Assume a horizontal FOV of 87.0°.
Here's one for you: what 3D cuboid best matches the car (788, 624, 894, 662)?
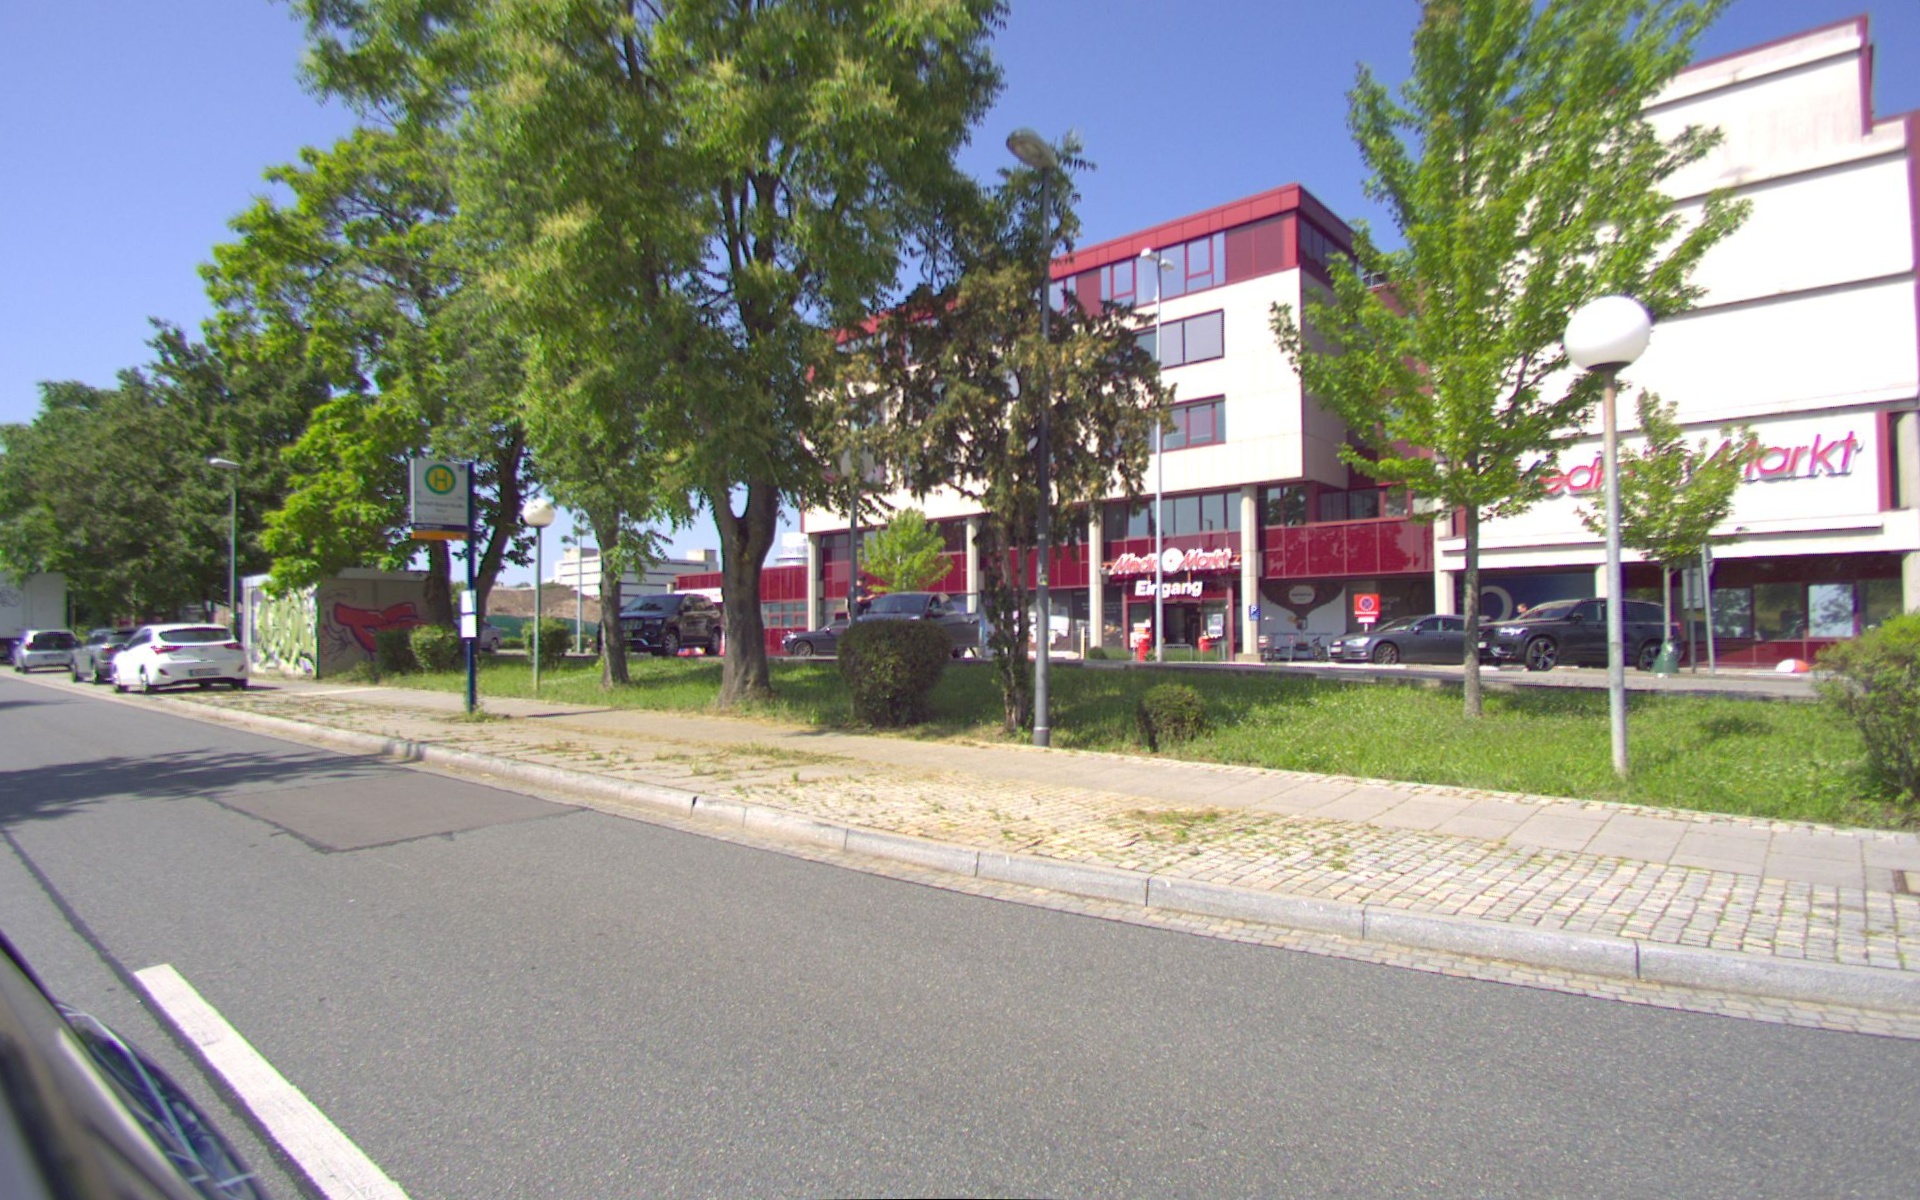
[{"bbox_3d":[-4.815,1.737,41.017,4.174,1.462,1.725,-1,-2,-6],"label":"car"}]

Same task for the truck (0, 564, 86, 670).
[{"bbox_3d":[-40.700,0.798,43.663,9.274,4.175,3.310,-2,-1,42],"label":"truck"}]

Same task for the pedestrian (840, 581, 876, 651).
[{"bbox_3d":[-2.310,0.368,22.828,0.555,1.539,0.759,0,-2,-27],"label":"pedestrian"}]

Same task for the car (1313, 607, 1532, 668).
[{"bbox_3d":[11.848,0.969,26.100,4.794,1.504,1.921,0,-2,-6],"label":"car"}]

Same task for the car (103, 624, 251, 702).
[{"bbox_3d":[-17.142,1.324,22.101,3.997,1.504,1.743,-2,-1,40],"label":"car"}]

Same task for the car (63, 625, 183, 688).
[{"bbox_3d":[-22.454,1.484,27.097,3.997,1.527,1.792,-2,-1,40],"label":"car"}]

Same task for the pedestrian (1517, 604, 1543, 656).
[{"bbox_3d":[15.089,0.791,26.773,0.520,1.366,0.457,-2,-2,36],"label":"pedestrian"}]

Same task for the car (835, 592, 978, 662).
[{"bbox_3d":[-1.045,0.545,21.807,1.705,1.348,3.964,-2,-1,19],"label":"car"}]

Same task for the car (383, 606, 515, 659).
[{"bbox_3d":[-18.940,1.206,37.792,1.978,1.818,4.701,-2,-2,10],"label":"car"}]

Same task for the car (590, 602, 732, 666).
[{"bbox_3d":[-7.843,0.847,27.078,1.831,1.504,4.805,-1,-1,8],"label":"car"}]

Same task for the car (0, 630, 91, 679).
[{"bbox_3d":[-31.397,1.828,34.722,3.997,1.527,1.792,-2,-1,40],"label":"car"}]

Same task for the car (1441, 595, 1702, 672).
[{"bbox_3d":[14.226,0.838,23.675,5.031,1.606,2.192,2,-4,-12],"label":"car"}]
